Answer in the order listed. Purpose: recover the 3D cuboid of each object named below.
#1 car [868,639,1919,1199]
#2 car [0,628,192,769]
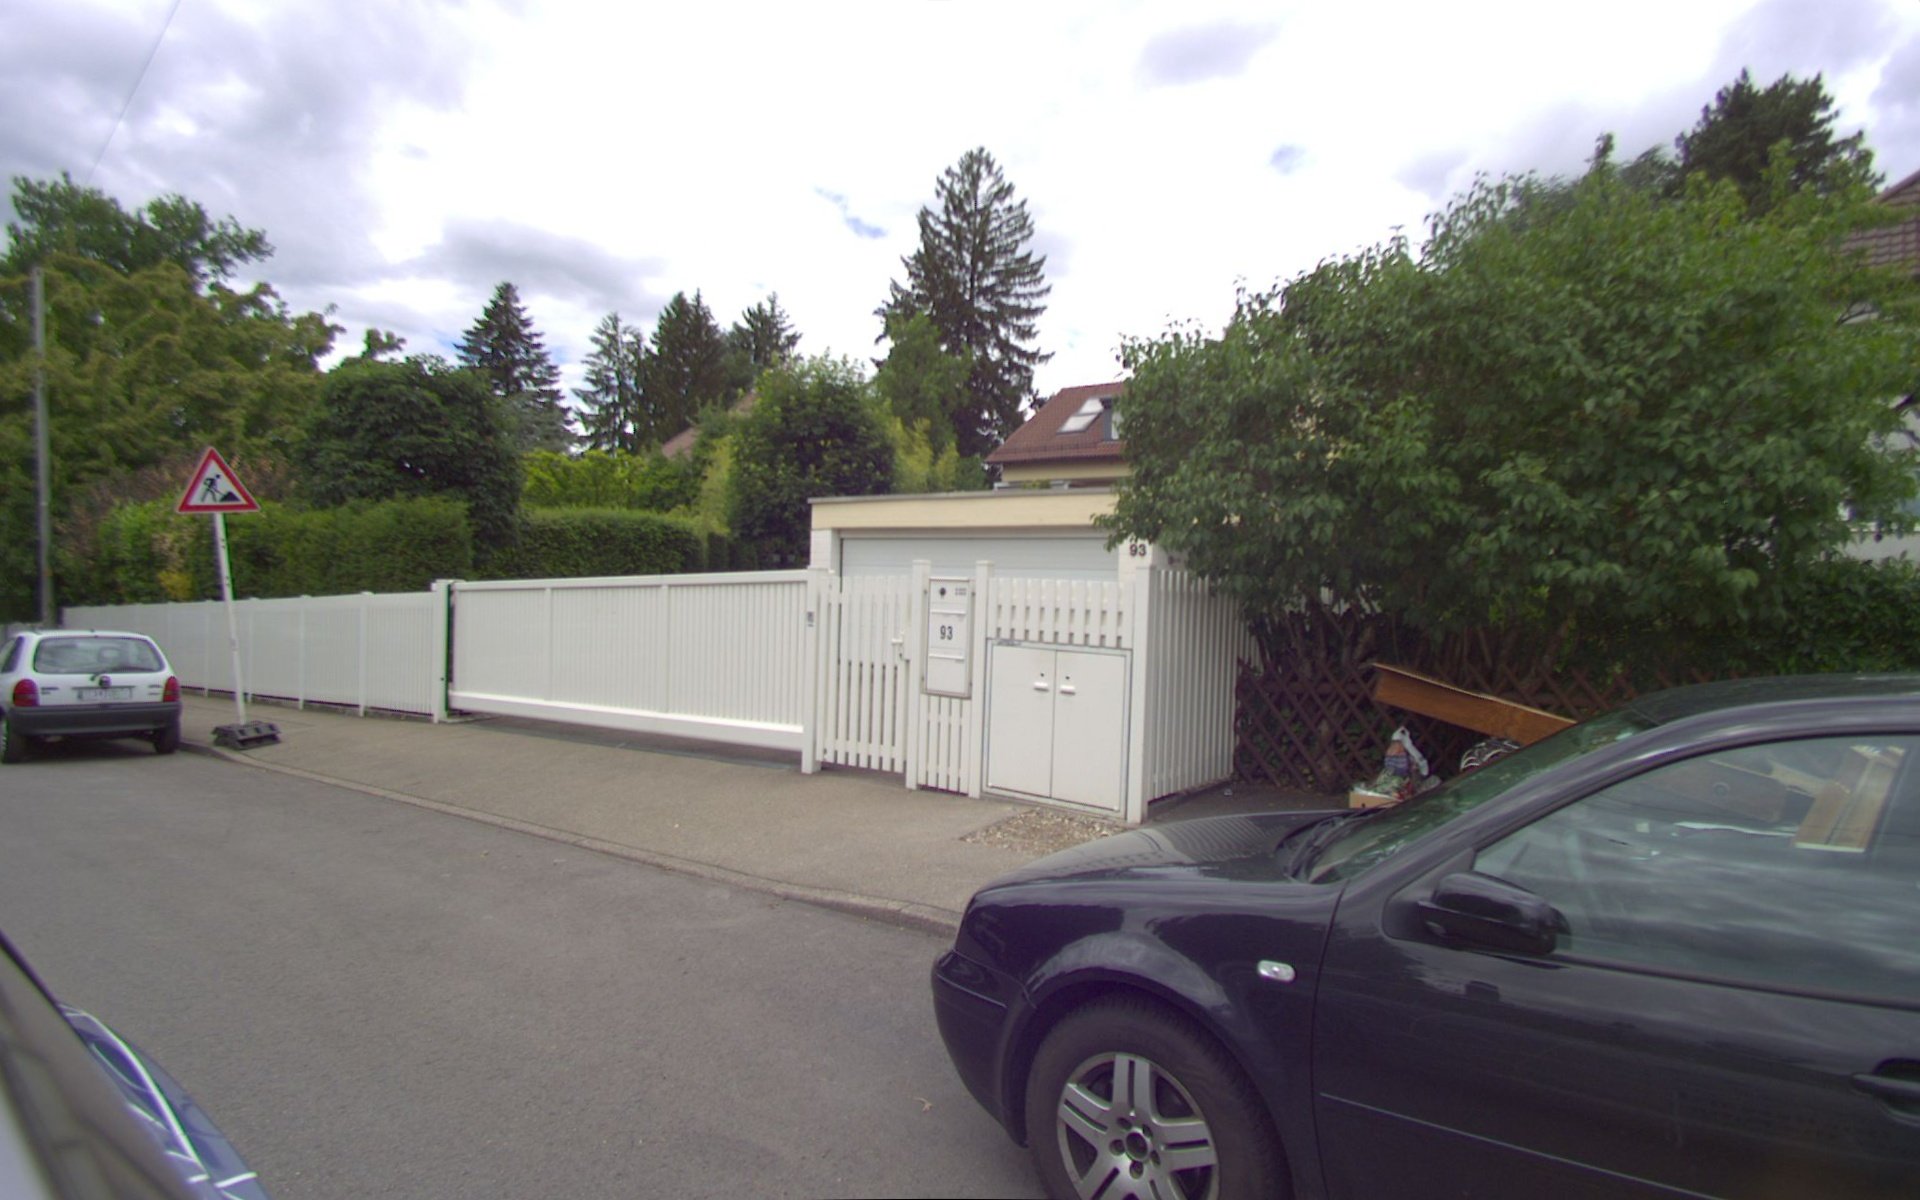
[{"bbox_3d":[1.838,0.807,2.132,3.981,1.406,1.622,-1,-3,37],"label":"car"},{"bbox_3d":[-10.865,1.067,12.215,3.995,1.444,1.580,-1,-3,39],"label":"car"}]
